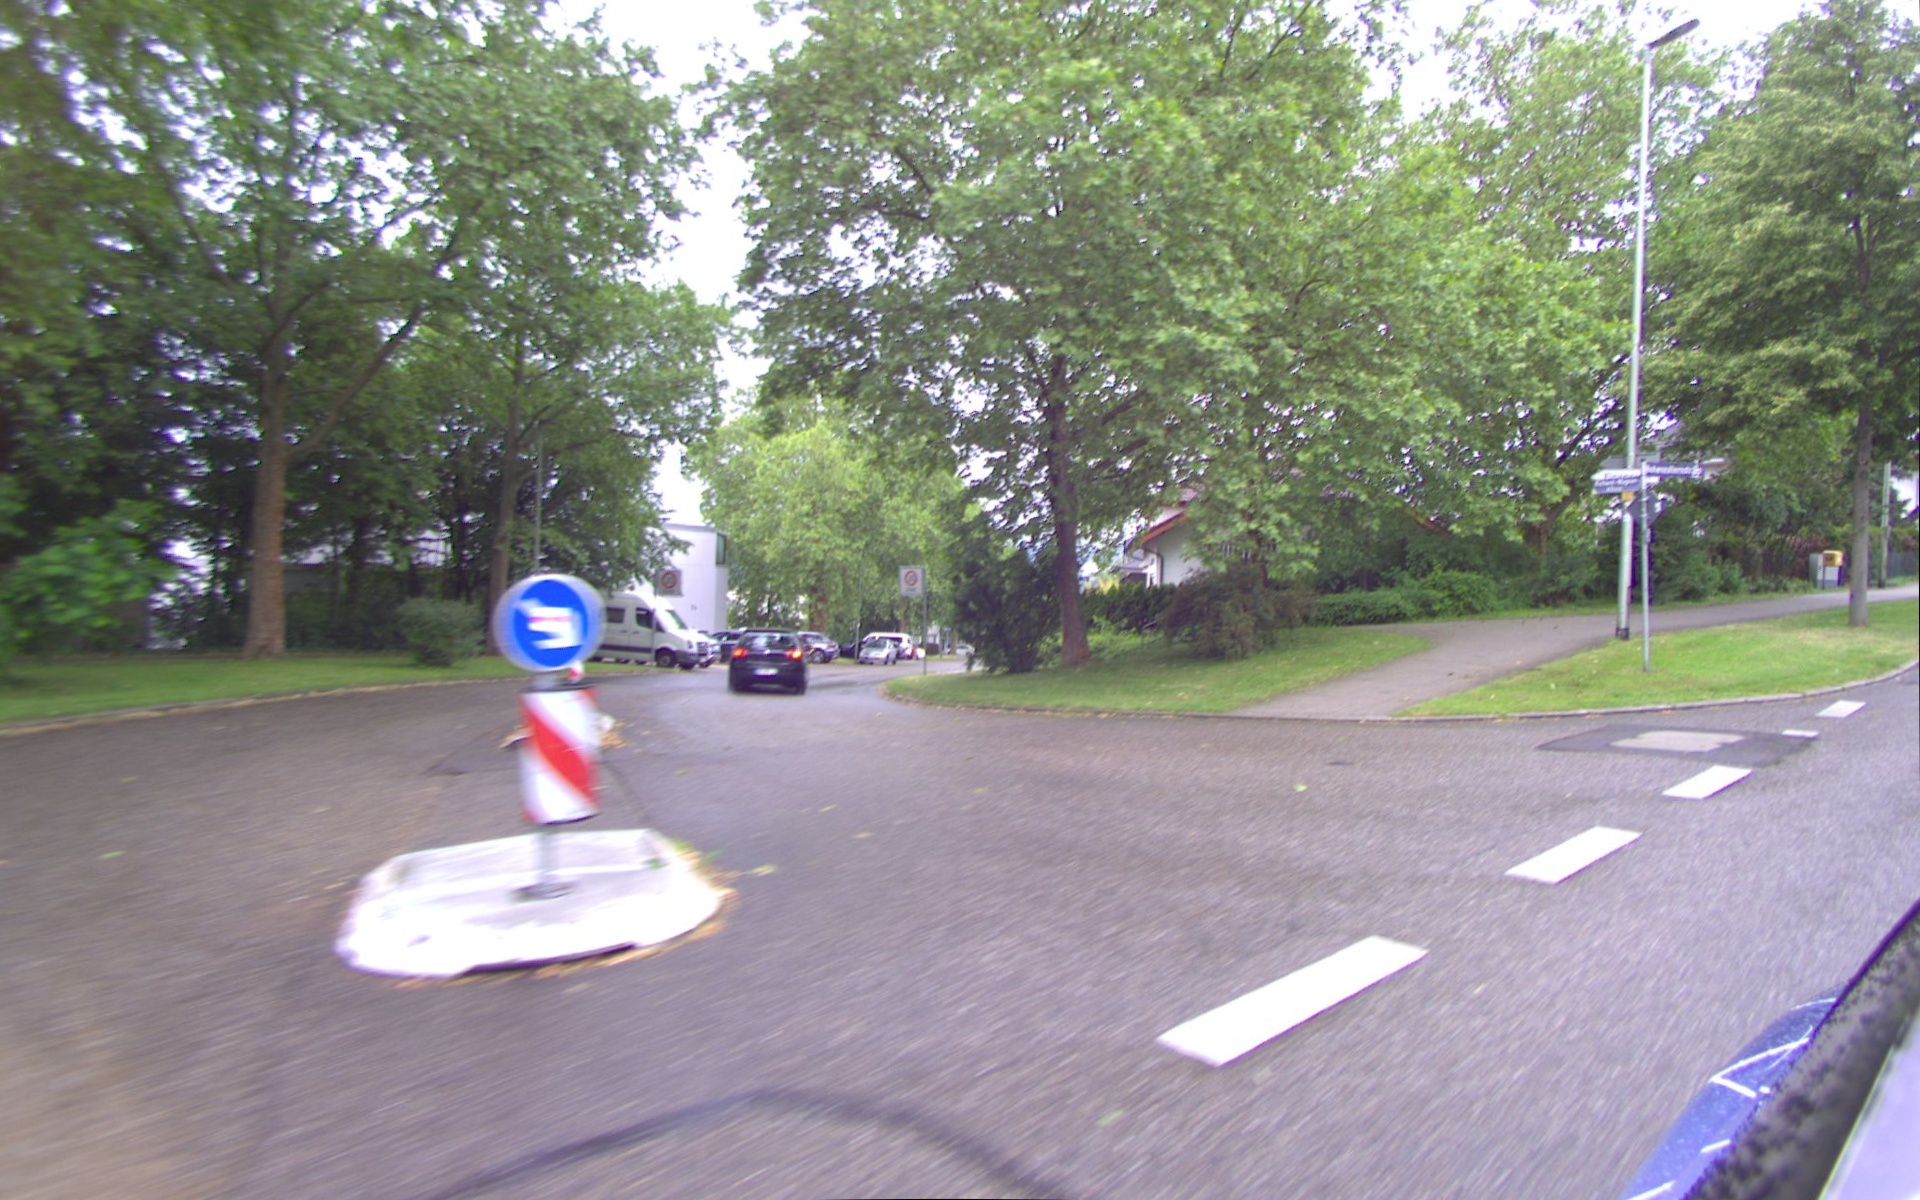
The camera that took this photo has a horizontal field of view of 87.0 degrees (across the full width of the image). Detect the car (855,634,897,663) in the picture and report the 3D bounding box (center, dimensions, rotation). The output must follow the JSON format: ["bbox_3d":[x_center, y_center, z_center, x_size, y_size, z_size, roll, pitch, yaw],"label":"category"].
[{"bbox_3d":[-4.867,2.826,59.241,1.698,1.482,3.992,0,0,7],"label":"car"}]

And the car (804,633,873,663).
[{"bbox_3d":[-8.249,3.266,69.137,4.231,1.863,2.352,0,0,8],"label":"car"}]

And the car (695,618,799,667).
[{"bbox_3d":[-9.881,1.949,47.115,4.233,1.862,2.083,4,1,8],"label":"car"}]

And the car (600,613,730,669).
[{"bbox_3d":[-11.212,1.573,38.577,4.233,1.714,1.938,5,-3,8],"label":"car"}]

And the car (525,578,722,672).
[{"bbox_3d":[-11.797,0.826,35.712,6.046,2.707,2.352,4,1,8],"label":"car"}]

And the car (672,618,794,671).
[{"bbox_3d":[-9.866,1.949,44.256,4.626,1.863,2.354,4,-3,3],"label":"car"}]

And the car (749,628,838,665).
[{"bbox_3d":[-8.958,2.473,54.703,4.231,1.863,2.352,0,0,8],"label":"car"}]

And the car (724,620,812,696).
[{"bbox_3d":[-4.402,1.285,23.678,1.692,1.482,4.005,4,-1,-7],"label":"car"}]

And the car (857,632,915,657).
[{"bbox_3d":[-5.836,3.465,79.877,4.231,1.863,2.160,0,0,8],"label":"car"}]
